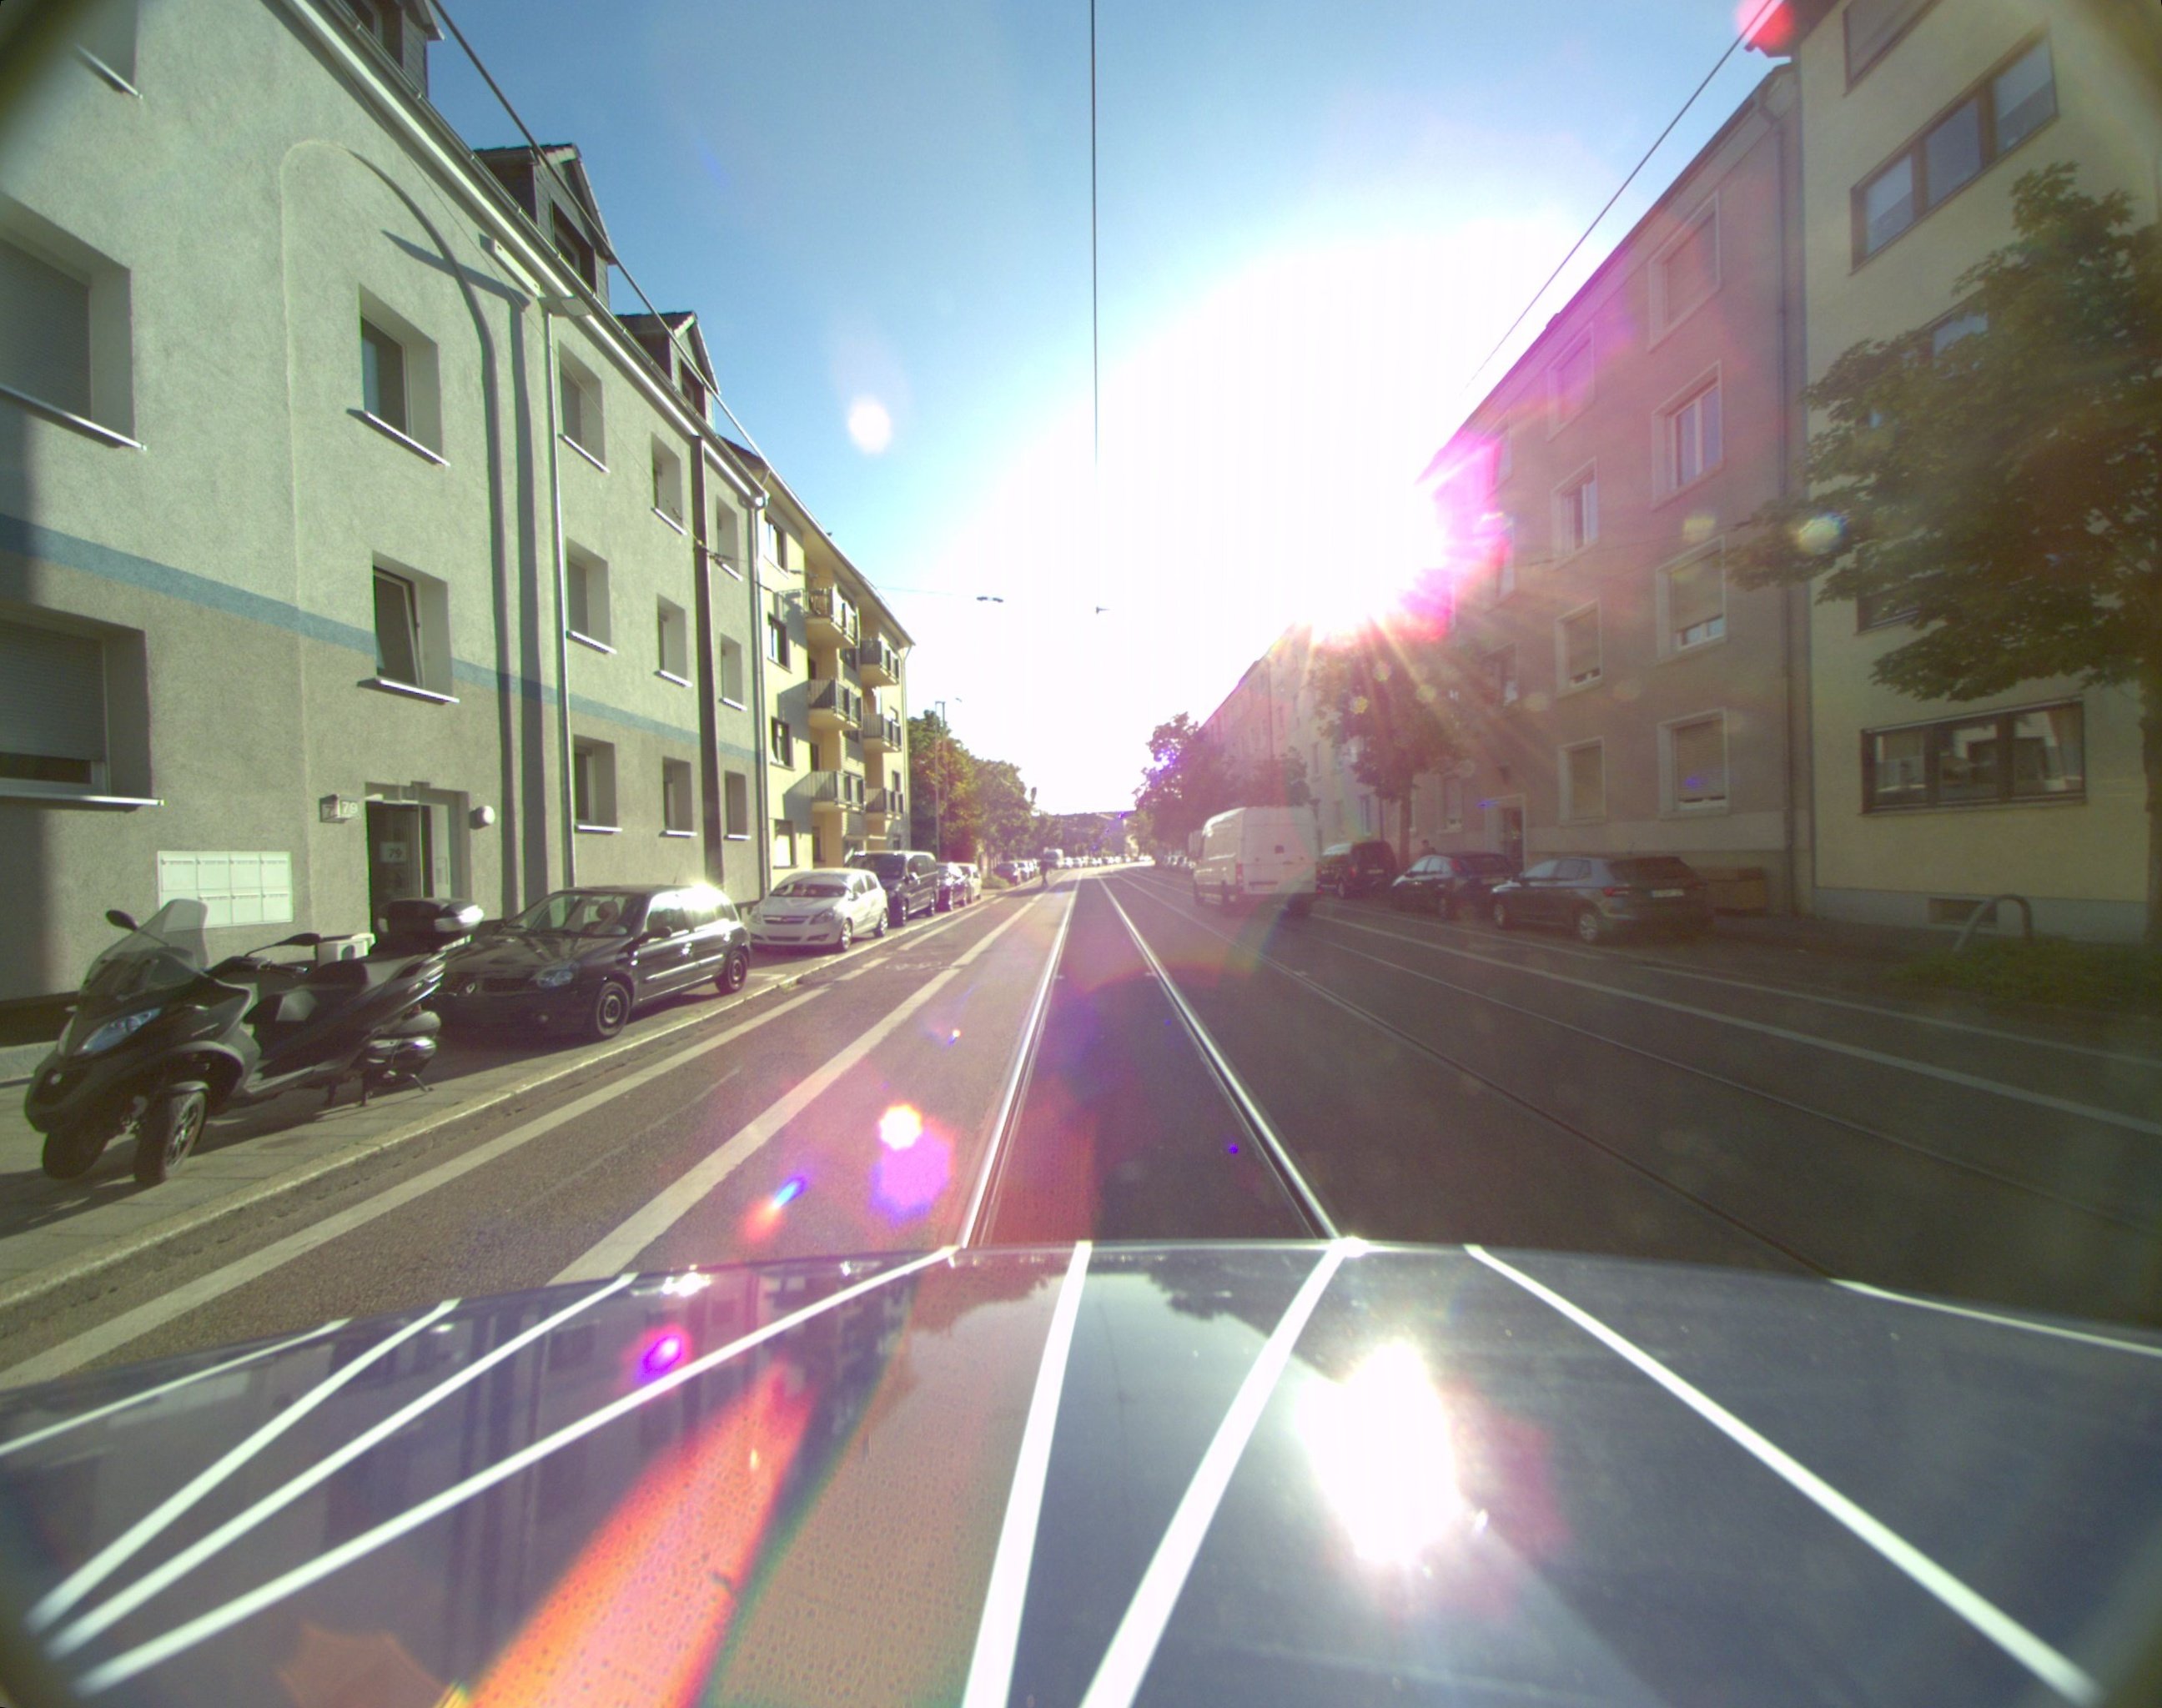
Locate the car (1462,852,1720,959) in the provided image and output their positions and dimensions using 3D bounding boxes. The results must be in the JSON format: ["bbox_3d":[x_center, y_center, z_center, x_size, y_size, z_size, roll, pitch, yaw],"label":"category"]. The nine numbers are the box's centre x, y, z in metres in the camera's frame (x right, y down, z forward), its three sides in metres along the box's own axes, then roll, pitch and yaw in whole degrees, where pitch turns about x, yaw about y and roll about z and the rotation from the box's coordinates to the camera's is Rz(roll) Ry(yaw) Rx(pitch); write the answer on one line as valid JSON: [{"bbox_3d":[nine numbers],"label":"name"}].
[{"bbox_3d":[8.707,0.768,13.475,1.769,1.464,4.041,-5,0,0],"label":"car"}]

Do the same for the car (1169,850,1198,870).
[{"bbox_3d":[8.695,0.494,64.622,1.688,1.542,4.047,-2,0,-3],"label":"car"}]

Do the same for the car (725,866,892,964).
[{"bbox_3d":[-5.079,1.066,14.760,1.805,1.562,3.903,0,0,0],"label":"car"}]

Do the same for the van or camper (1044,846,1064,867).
[{"bbox_3d":[-3.517,0.331,99.770,2.090,2.548,5.693,-3,1,2],"label":"van or camper"}]

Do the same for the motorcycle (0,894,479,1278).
[{"bbox_3d":[-5.082,1.074,4.532,0.807,1.513,2.708,0,0,0],"label":"motorcycle"}]

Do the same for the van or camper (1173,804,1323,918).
[{"bbox_3d":[4.260,0.157,20.900,2.376,2.538,6.833,-2,0,-2],"label":"van or camper"}]

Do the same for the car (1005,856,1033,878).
[{"bbox_3d":[-4.768,0.995,58.734,1.829,1.562,4.478,-1,0,0],"label":"car"}]

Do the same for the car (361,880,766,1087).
[{"bbox_3d":[-5.113,1.146,8.265,1.612,1.562,3.904,0,0,2],"label":"car"}]

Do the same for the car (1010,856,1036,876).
[{"bbox_3d":[-4.836,0.965,64.077,1.829,1.562,4.478,-1,0,0],"label":"car"}]

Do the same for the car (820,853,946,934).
[{"bbox_3d":[-5.132,0.931,20.506,1.934,1.910,5.004,0,0,2],"label":"car"}]

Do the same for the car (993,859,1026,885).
[{"bbox_3d":[-4.535,1.108,48.748,1.612,1.562,4.478,0,0,1],"label":"car"}]

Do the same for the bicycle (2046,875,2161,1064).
[{"bbox_3d":[9.026,0.826,5.839,2.298,1.326,0.699,-2,1,0],"label":"bicycle"}]

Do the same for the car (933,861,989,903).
[{"bbox_3d":[-4.733,1.071,30.390,1.557,1.533,3.632,0,0,1],"label":"car"}]

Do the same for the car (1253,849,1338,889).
[{"bbox_3d":[8.731,0.573,31.408,1.770,1.464,4.856,-3,0,-4],"label":"car"}]

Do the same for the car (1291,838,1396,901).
[{"bbox_3d":[8.792,0.476,25.879,1.770,1.835,4.422,-5,0,-2],"label":"car"}]

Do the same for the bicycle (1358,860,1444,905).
[{"bbox_3d":[9.257,0.813,22.017,2.117,1.099,0.746,-5,1,-1],"label":"bicycle"}]

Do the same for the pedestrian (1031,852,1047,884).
[{"bbox_3d":[-2.359,0.801,43.044,0.801,1.800,0.945,0,1,1],"label":"pedestrian"}]

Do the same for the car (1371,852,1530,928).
[{"bbox_3d":[8.673,0.756,18.285,1.769,1.464,4.181,-5,0,1],"label":"car"}]

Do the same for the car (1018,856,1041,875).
[{"bbox_3d":[-4.641,1.028,68.824,1.829,1.562,4.478,-1,0,0],"label":"car"}]

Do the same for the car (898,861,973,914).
[{"bbox_3d":[-4.813,1.066,25.680,1.612,1.562,4.218,0,0,1],"label":"car"}]

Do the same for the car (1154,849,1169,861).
[{"bbox_3d":[10.713,0.126,101.526,1.666,1.535,3.410,-2,0,0],"label":"car"}]
